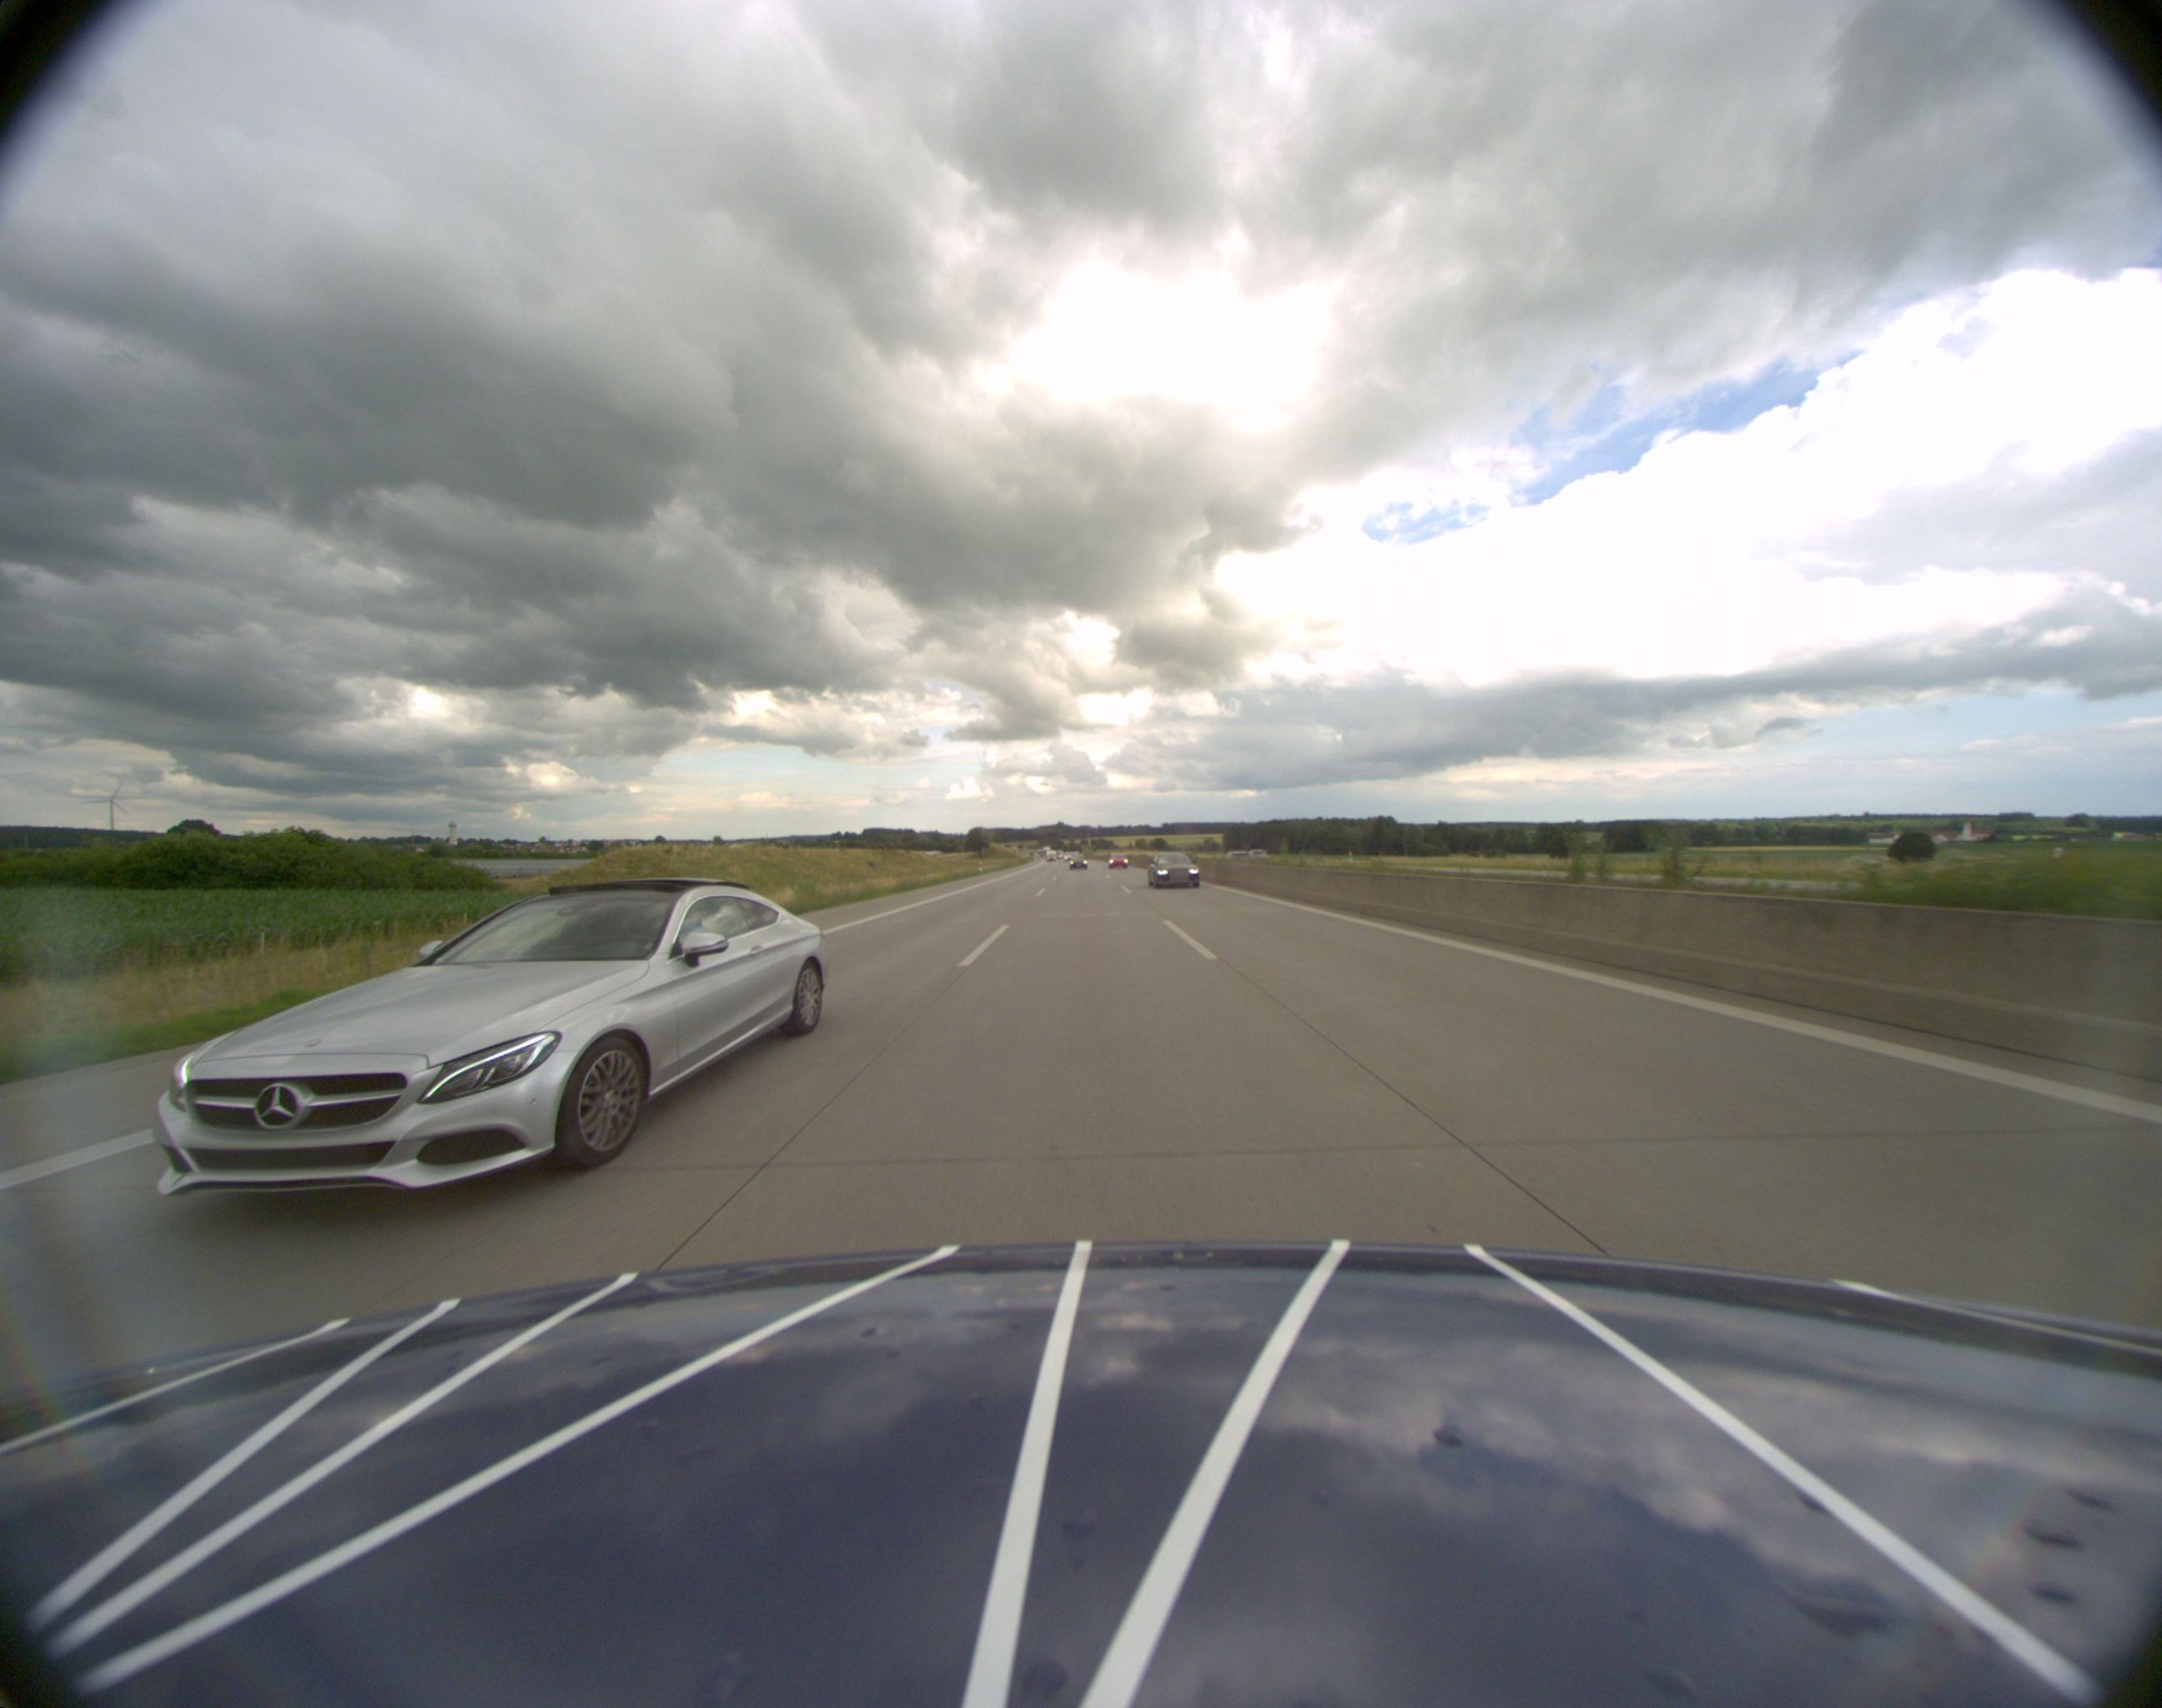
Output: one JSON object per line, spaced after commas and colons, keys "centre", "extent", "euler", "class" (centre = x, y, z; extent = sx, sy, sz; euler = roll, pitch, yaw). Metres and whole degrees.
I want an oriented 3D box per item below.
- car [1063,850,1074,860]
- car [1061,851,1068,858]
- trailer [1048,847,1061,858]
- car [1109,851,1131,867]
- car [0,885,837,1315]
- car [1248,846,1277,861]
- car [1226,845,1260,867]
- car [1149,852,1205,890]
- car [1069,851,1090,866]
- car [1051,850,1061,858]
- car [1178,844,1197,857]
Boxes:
{"centre": [-2.447, 0.217, 151.381], "extent": [1.999, 2.002, 3.999], "euler": [-2, 0, -2], "class": "car"}
{"centre": [-4.937, 0.246, 223.647], "extent": [1.810, 2.002, 3.840], "euler": [-3, 1, -5], "class": "car"}
{"centre": [-6.530, -0.432, 183.362], "extent": [2.616, 2.519, 6.717], "euler": [-2, 1, -6], "class": "trailer"}
{"centre": [3.787, 0.483, 74.486], "extent": [1.822, 1.364, 3.781], "euler": [-3, 1, -2], "class": "car"}
{"centre": [-3.253, 1.038, 5.027], "extent": [1.793, 1.395, 4.221], "euler": [-2, 1, 1], "class": "car"}
{"centre": [19.416, -0.066, 81.623], "extent": [1.902, 1.462, 4.848], "euler": [-2, 1, 0], "class": "car"}
{"centre": [12.382, 0.092, 58.246], "extent": [1.717, 1.547, 3.768], "euler": [-2, 1, 0], "class": "car"}
{"centre": [3.991, 0.672, 32.255], "extent": [1.939, 1.464, 4.000], "euler": [-2, 0, 1], "class": "car"}
{"centre": [-0.185, 0.467, 76.365], "extent": [1.691, 1.405, 3.997], "euler": [-2, 1, -6], "class": "car"}
{"centre": [-5.860, 0.000, 177.544], "extent": [1.945, 1.799, 5.028], "euler": [-2, 1, -6], "class": "car"}
{"centre": [14.798, -0.503, 105.531], "extent": [1.906, 1.684, 4.674], "euler": [-2, 1, 0], "class": "car"}
